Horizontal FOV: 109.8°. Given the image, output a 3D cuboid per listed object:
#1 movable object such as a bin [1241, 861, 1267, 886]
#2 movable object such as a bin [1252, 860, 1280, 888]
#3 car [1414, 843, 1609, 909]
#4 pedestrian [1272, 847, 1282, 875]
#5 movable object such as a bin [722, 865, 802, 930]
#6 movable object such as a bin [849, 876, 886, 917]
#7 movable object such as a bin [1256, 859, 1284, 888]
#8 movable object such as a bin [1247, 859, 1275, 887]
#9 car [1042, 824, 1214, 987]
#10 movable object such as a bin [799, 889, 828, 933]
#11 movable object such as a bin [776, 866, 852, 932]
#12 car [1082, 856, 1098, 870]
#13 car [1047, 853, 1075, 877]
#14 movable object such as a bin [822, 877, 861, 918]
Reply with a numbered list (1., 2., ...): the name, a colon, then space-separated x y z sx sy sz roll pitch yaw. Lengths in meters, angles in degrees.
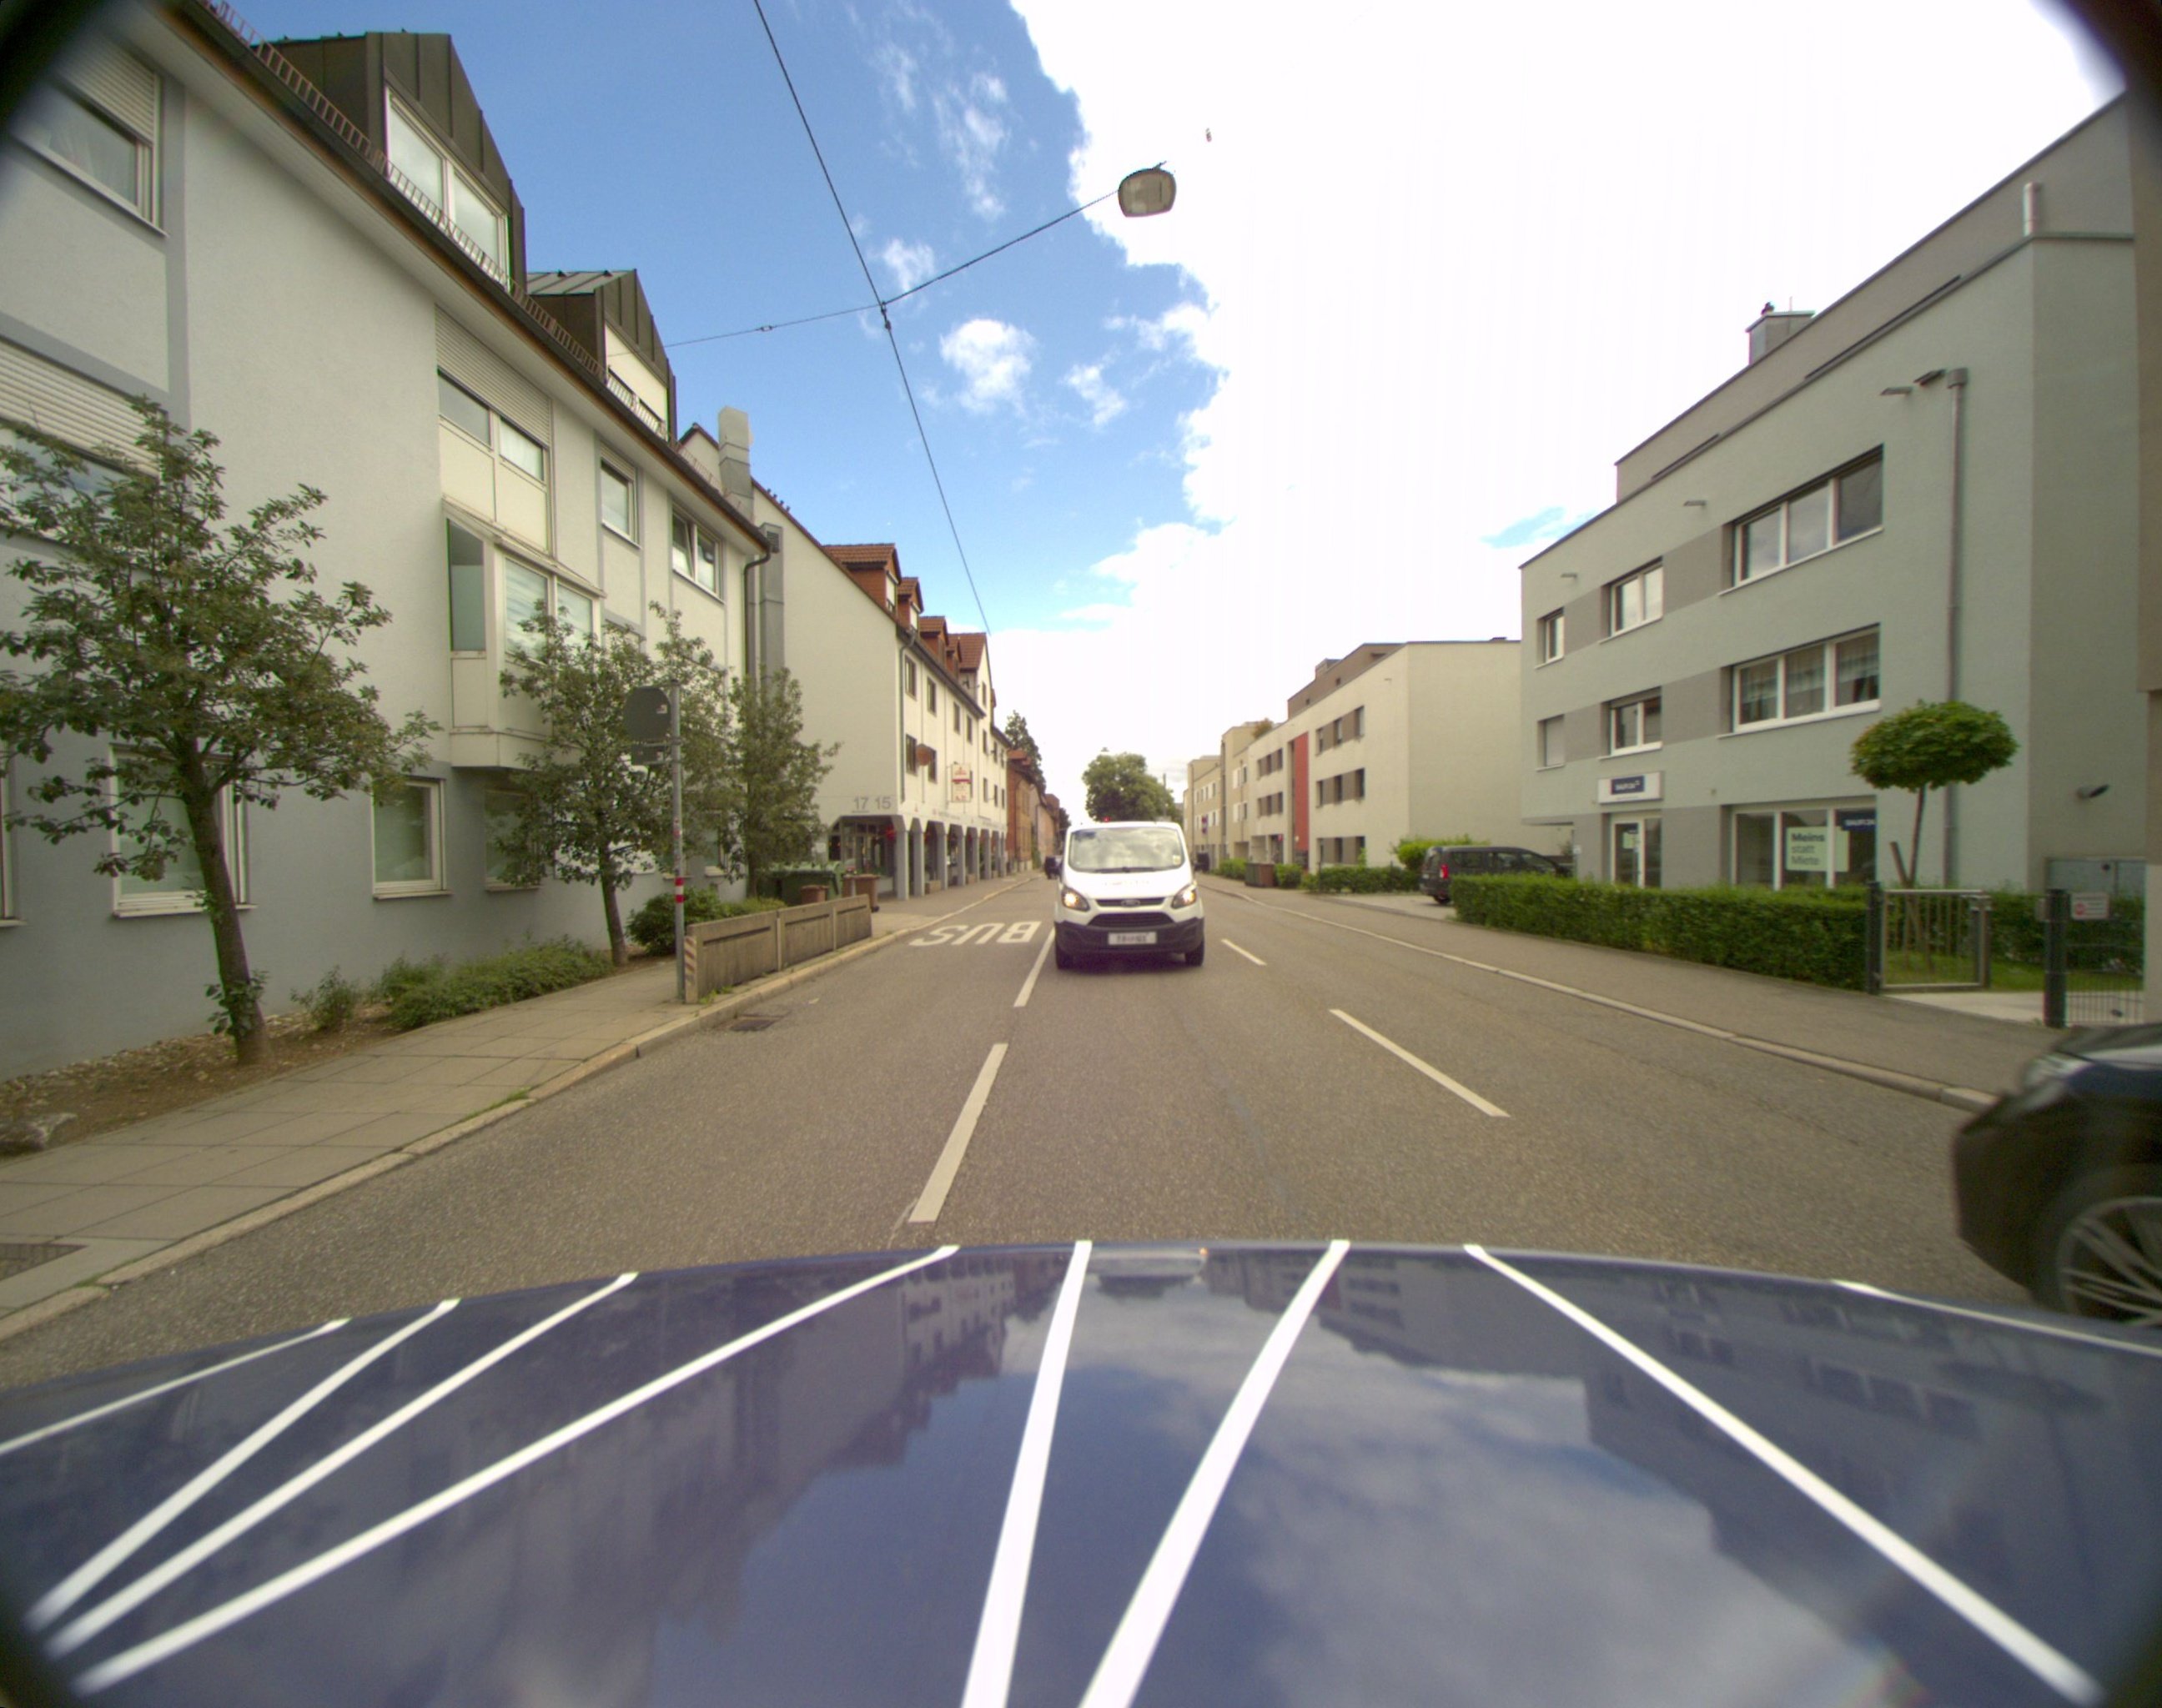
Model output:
1. movable object such as a bin: 7.625 0.852 33.531 0.897 1.083 0.792 -1 1 -3
2. movable object such as a bin: 7.744 0.828 31.816 0.951 1.144 0.749 -1 1 -3
3. car: 11.361 0.556 20.286 4.172 1.658 1.725 0 1 4
4. pedestrian: 11.843 0.427 45.989 0.519 1.633 0.641 -1 1 20
5. movable object such as a bin: -7.394 0.987 17.695 1.270 1.426 1.307 -1 1 1
6. movable object such as a bin: -5.945 1.179 21.200 0.685 1.061 0.972 -1 1 5
7. movable object such as a bin: 7.737 0.802 31.081 0.943 1.144 0.612 -1 1 -3
8. movable object such as a bin: 7.706 0.802 32.625 0.959 1.144 0.840 -1 1 -3
9. car: 0.586 0.610 11.703 2.062 1.946 5.060 -1 0 0
10. movable object such as a bin: -5.789 1.234 16.460 0.431 0.915 0.465 -1 1 1
11. movable object such as a bin: -6.044 1.001 17.276 1.270 1.409 1.162 -1 1 1
12. car: 1.005 1.047 86.005 1.755 1.485 3.986 -1 0 0
13. car: -1.283 0.717 50.555 1.755 1.485 3.986 -1 0 0
14. movable object such as a bin: -6.676 1.203 21.240 0.699 1.073 0.972 -1 1 5
